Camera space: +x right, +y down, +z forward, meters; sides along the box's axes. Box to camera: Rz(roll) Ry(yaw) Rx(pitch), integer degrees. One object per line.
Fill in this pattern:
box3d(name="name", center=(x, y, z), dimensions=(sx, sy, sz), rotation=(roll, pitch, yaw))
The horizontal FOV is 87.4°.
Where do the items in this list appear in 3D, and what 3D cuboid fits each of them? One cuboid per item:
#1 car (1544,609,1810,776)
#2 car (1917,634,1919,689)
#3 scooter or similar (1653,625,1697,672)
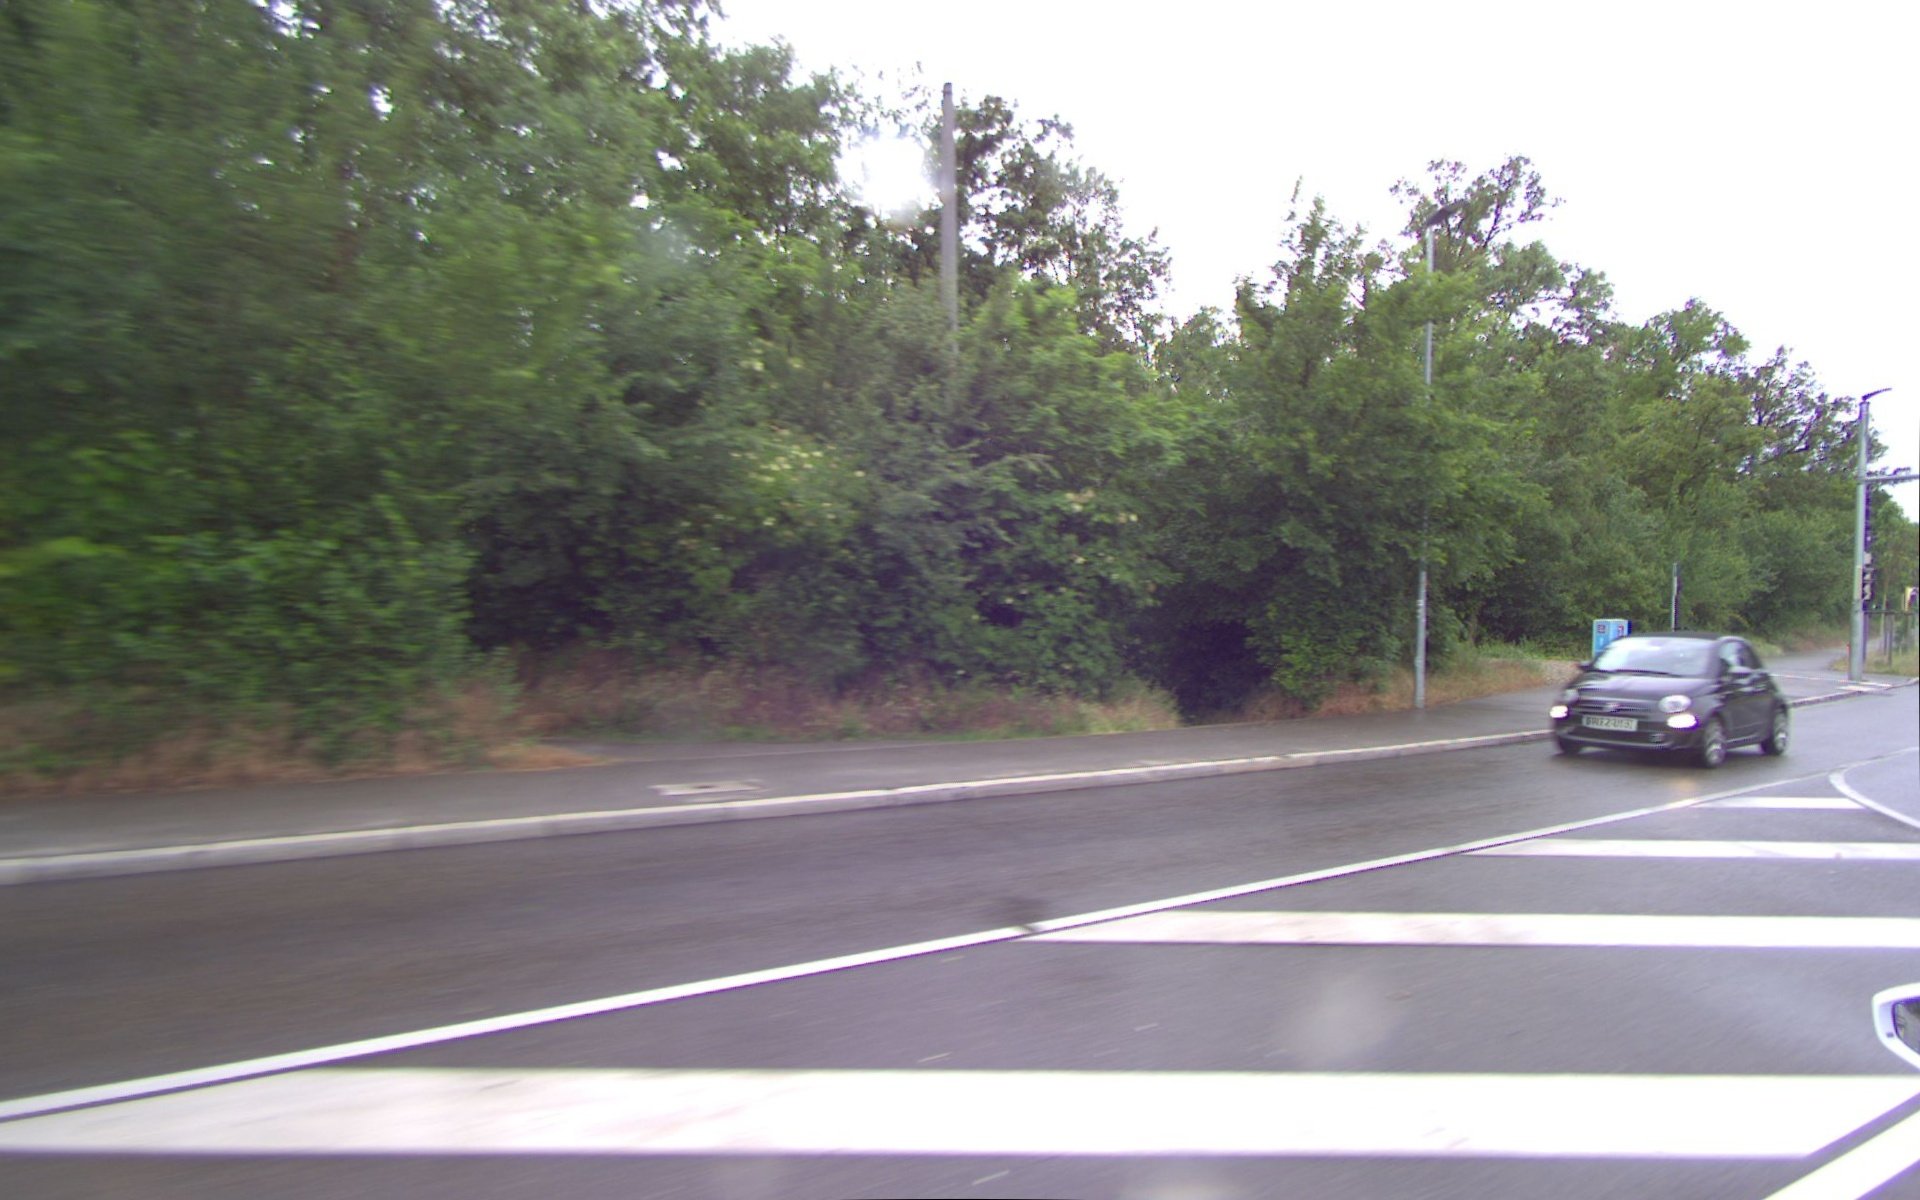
box3d(name="car", center=(8.849, 1.008, 12.311), dimensions=(3.738, 1.753, 1.565), rotation=(1, -1, -36))
box3d(name="car", center=(26.135, 1.548, 25.824), dimensions=(4.174, 1.370, 1.727), rotation=(1, -1, -40))
box3d(name="scooter or similar", center=(19.579, 1.306, 27.502), dimensions=(1.454, 1.228, 0.514), rotation=(1, 1, -35))
